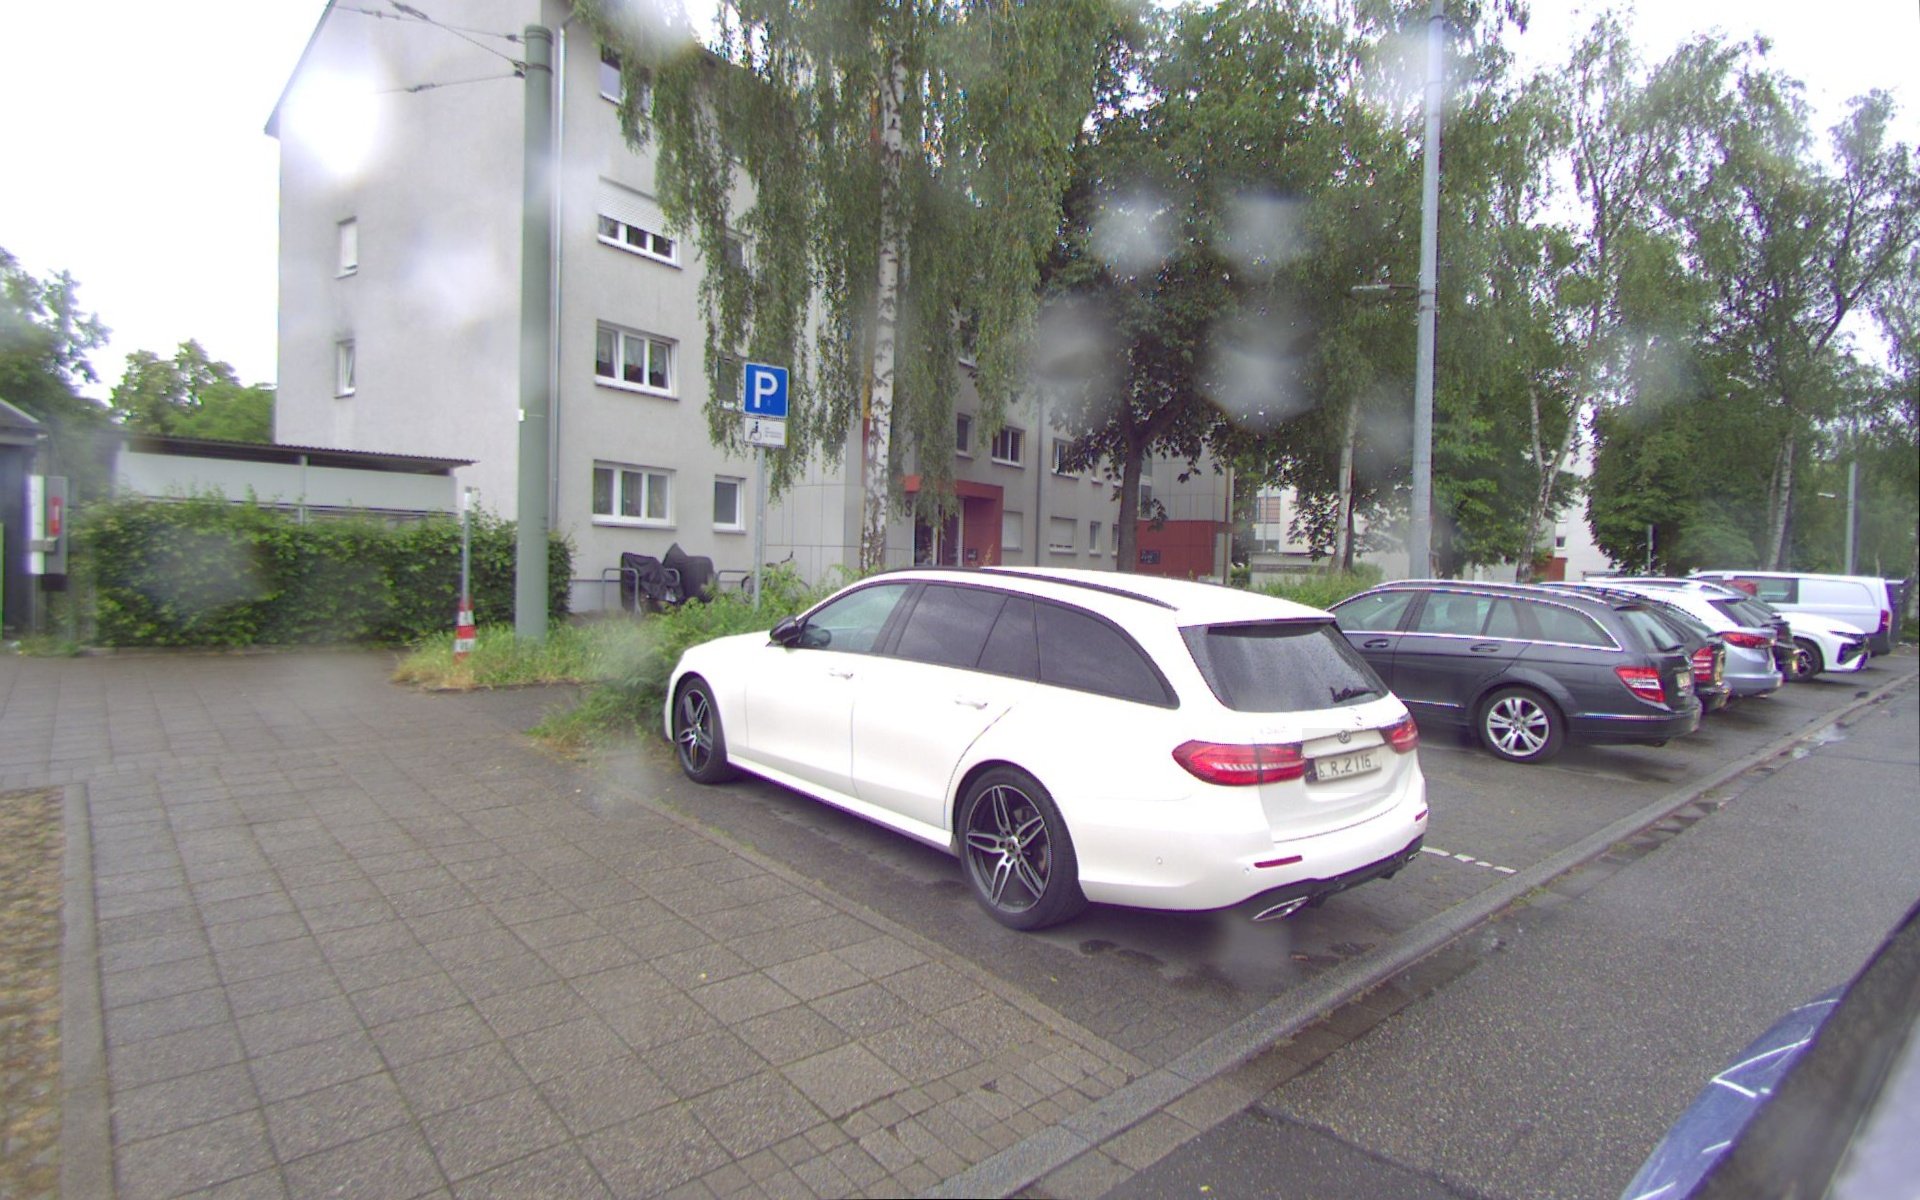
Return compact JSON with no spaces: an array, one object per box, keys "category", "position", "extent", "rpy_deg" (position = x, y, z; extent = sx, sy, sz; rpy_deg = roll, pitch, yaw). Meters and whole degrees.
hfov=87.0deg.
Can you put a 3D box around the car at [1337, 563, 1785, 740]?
[{"category":"car","position":[6.643,0.416,11.537],"extent":[1.653,1.456,4.044],"rpy_deg":[-1,5,-43]}]

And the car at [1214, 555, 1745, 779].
[{"category":"car","position":[4.615,0.419,9.457],"extent":[1.653,1.456,4.044],"rpy_deg":[-1,5,-43]}]

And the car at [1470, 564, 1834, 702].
[{"category":"car","position":[9.867,0.352,14.679],"extent":[1.653,1.514,4.044],"rpy_deg":[-1,5,-43]}]

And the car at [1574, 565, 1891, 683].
[{"category":"car","position":[13.696,0.320,18.171],"extent":[1.651,1.637,4.181],"rpy_deg":[0,5,-40]}]

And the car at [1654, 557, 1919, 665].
[{"category":"car","position":[17.553,0.138,21.656],"extent":[4.172,1.888,1.654],"rpy_deg":[6,5,43]}]

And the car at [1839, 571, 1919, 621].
[{"category":"car","position":[37.768,-0.156,40.223],"extent":[1.866,1.937,3.998],"rpy_deg":[-1,0,-36]}]

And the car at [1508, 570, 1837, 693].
[{"category":"car","position":[11.354,0.397,16.349],"extent":[1.653,1.514,4.044],"rpy_deg":[-1,5,-43]}]

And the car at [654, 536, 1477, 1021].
[{"category":"car","position":[0.082,0.473,5.607],"extent":[1.651,1.456,4.622],"rpy_deg":[-1,5,-41]}]

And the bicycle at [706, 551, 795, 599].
[{"category":"bicycle","position":[-4.521,-0.532,21.968],"extent":[0.701,1.005,1.918],"rpy_deg":[0,0,37]}]

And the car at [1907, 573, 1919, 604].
[{"category":"car","position":[53.229,-0.623,53.794],"extent":[1.866,1.701,3.998],"rpy_deg":[-1,1,-36]}]

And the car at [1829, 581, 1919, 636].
[{"category":"car","position":[34.433,0.281,36.801],"extent":[1.866,1.937,3.998],"rpy_deg":[-1,0,-36]}]

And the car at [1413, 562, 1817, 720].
[{"category":"car","position":[8.255,0.381,13.047],"extent":[1.653,1.514,4.044],"rpy_deg":[-1,5,-43]}]
